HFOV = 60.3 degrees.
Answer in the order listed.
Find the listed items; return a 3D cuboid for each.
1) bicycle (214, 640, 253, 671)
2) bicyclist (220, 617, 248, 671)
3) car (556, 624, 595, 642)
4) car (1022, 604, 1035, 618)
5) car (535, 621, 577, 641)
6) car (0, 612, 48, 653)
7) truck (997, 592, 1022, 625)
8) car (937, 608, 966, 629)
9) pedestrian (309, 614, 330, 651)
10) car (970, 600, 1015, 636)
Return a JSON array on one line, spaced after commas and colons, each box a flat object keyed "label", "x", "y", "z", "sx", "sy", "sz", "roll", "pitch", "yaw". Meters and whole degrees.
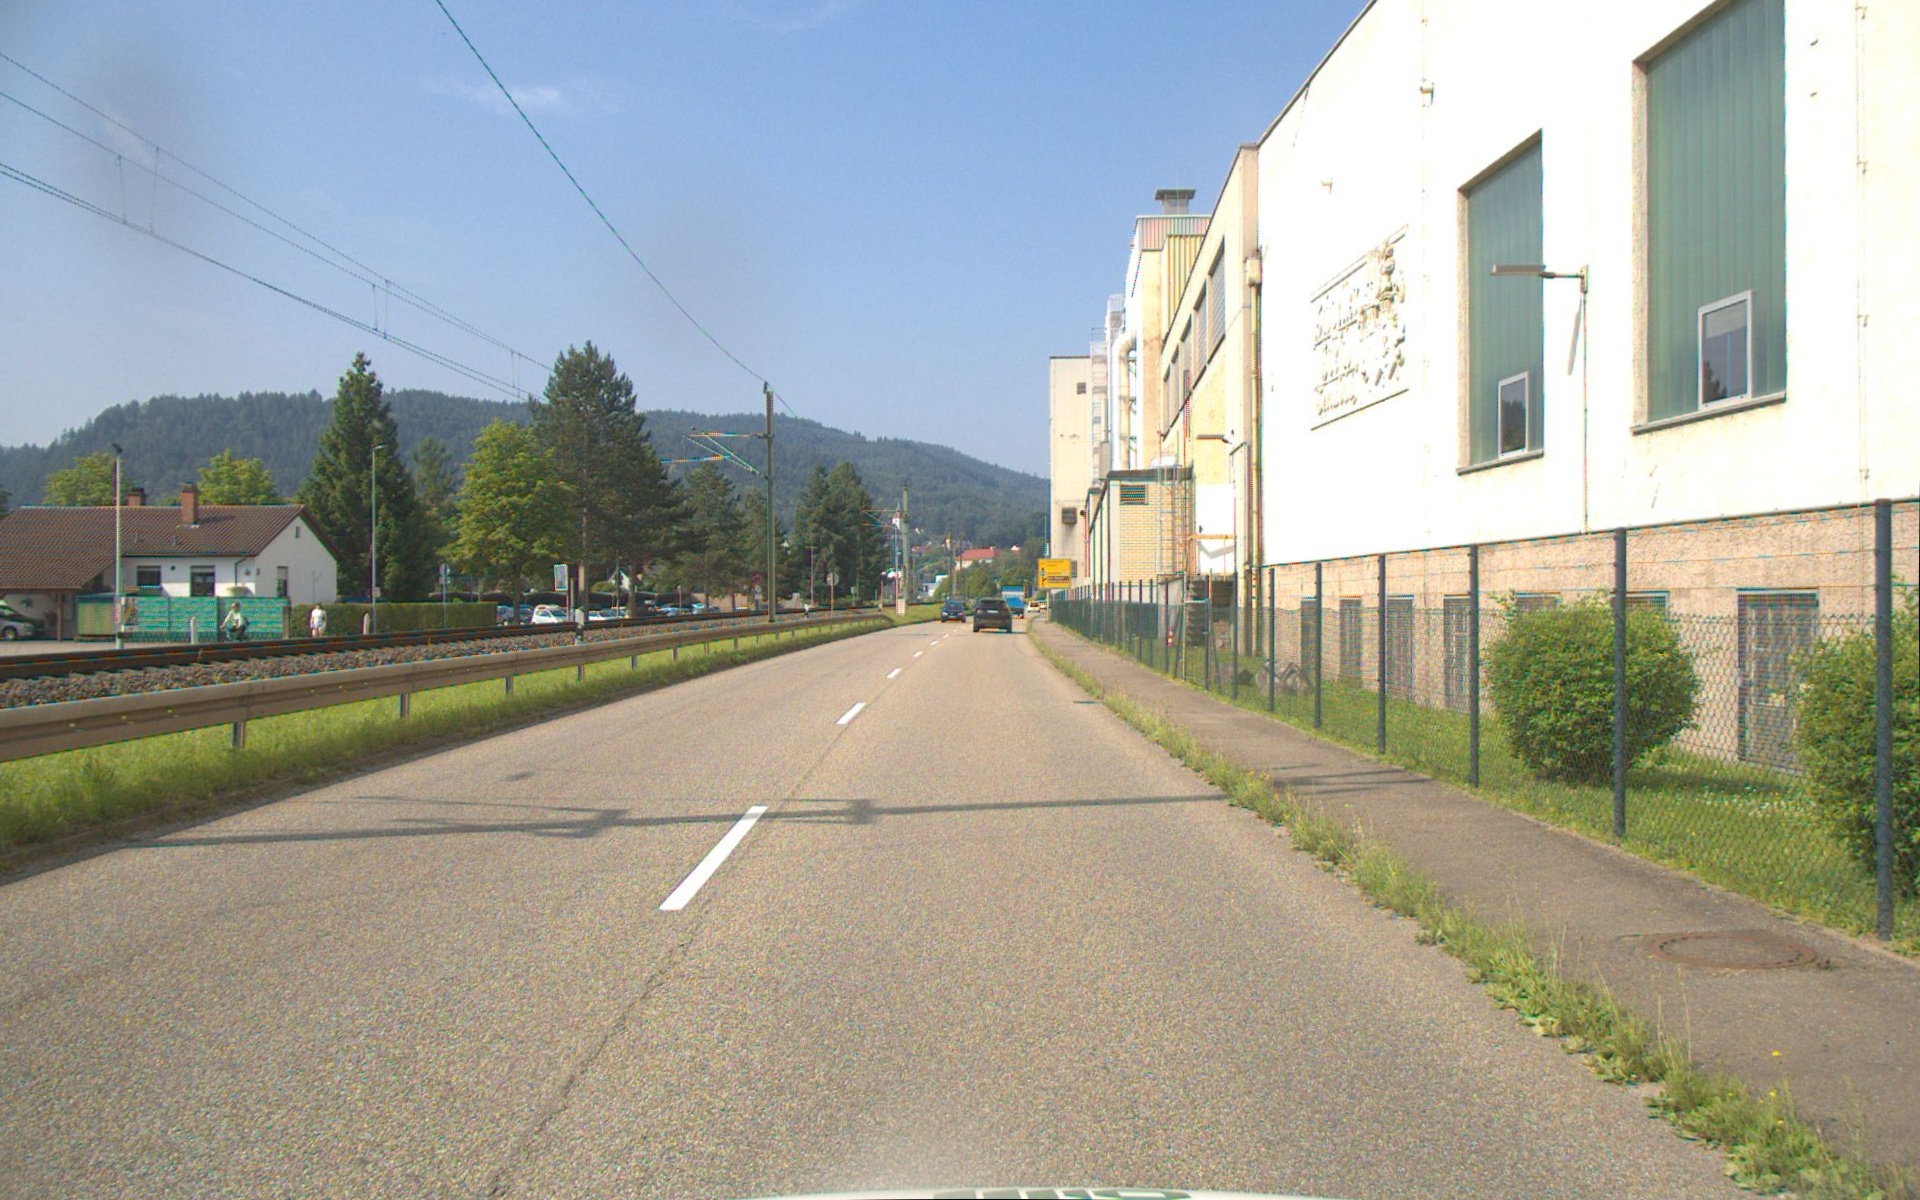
[{"label": "bicycle", "x": -22.691, "y": 1.726, "z": 51.664, "sx": 0.534, "sy": 0.939, "sz": 1.709, "roll": 0, "pitch": -1, "yaw": -3}, {"label": "bicyclist", "x": -22.699, "y": 1.360, "z": 51.736, "sx": 0.522, "sy": 1.675, "sz": 0.831, "roll": 0, "pitch": -1, "yaw": -3}, {"label": "car", "x": -31.992, "y": 2.740, "z": 137.580, "sx": 1.673, "sy": 1.533, "sz": 3.796, "roll": 1, "pitch": -1, "yaw": -40}, {"label": "car", "x": 9.255, "y": 1.445, "z": 223.637, "sx": 1.632, "sy": 1.855, "sz": 3.753, "roll": 0, "pitch": -1, "yaw": 4}, {"label": "car", "x": -30.781, "y": 2.380, "z": 125.970, "sx": 1.673, "sy": 1.469, "sz": 3.796, "roll": 1, "pitch": -1, "yaw": -40}, {"label": "car", "x": -40.199, "y": 1.336, "z": 68.602, "sx": 3.756, "sy": 1.680, "sz": 1.713, "roll": 0, "pitch": -1, "yaw": 1}, {"label": "truck", "x": 4.682, "y": 0.802, "z": 156.496, "sx": 2.265, "sy": 3.022, "sz": 5.966, "roll": 0, "pitch": 0, "yaw": 1}, {"label": "car", "x": -0.593, "y": 1.338, "z": 118.695, "sx": 1.727, "sy": 1.427, "sz": 4.122, "roll": 1, "pitch": -1, "yaw": 4}, {"label": "pedestrian", "x": -23.929, "y": 1.216, "z": 61.842, "sx": 0.562, "sy": 1.355, "sz": 0.673, "roll": 0, "pitch": -1, "yaw": -6}, {"label": "car", "x": 1.575, "y": 0.887, "z": 79.619, "sx": 1.879, "sy": 1.669, "sz": 4.002, "roll": 0, "pitch": -1, "yaw": 5}]
